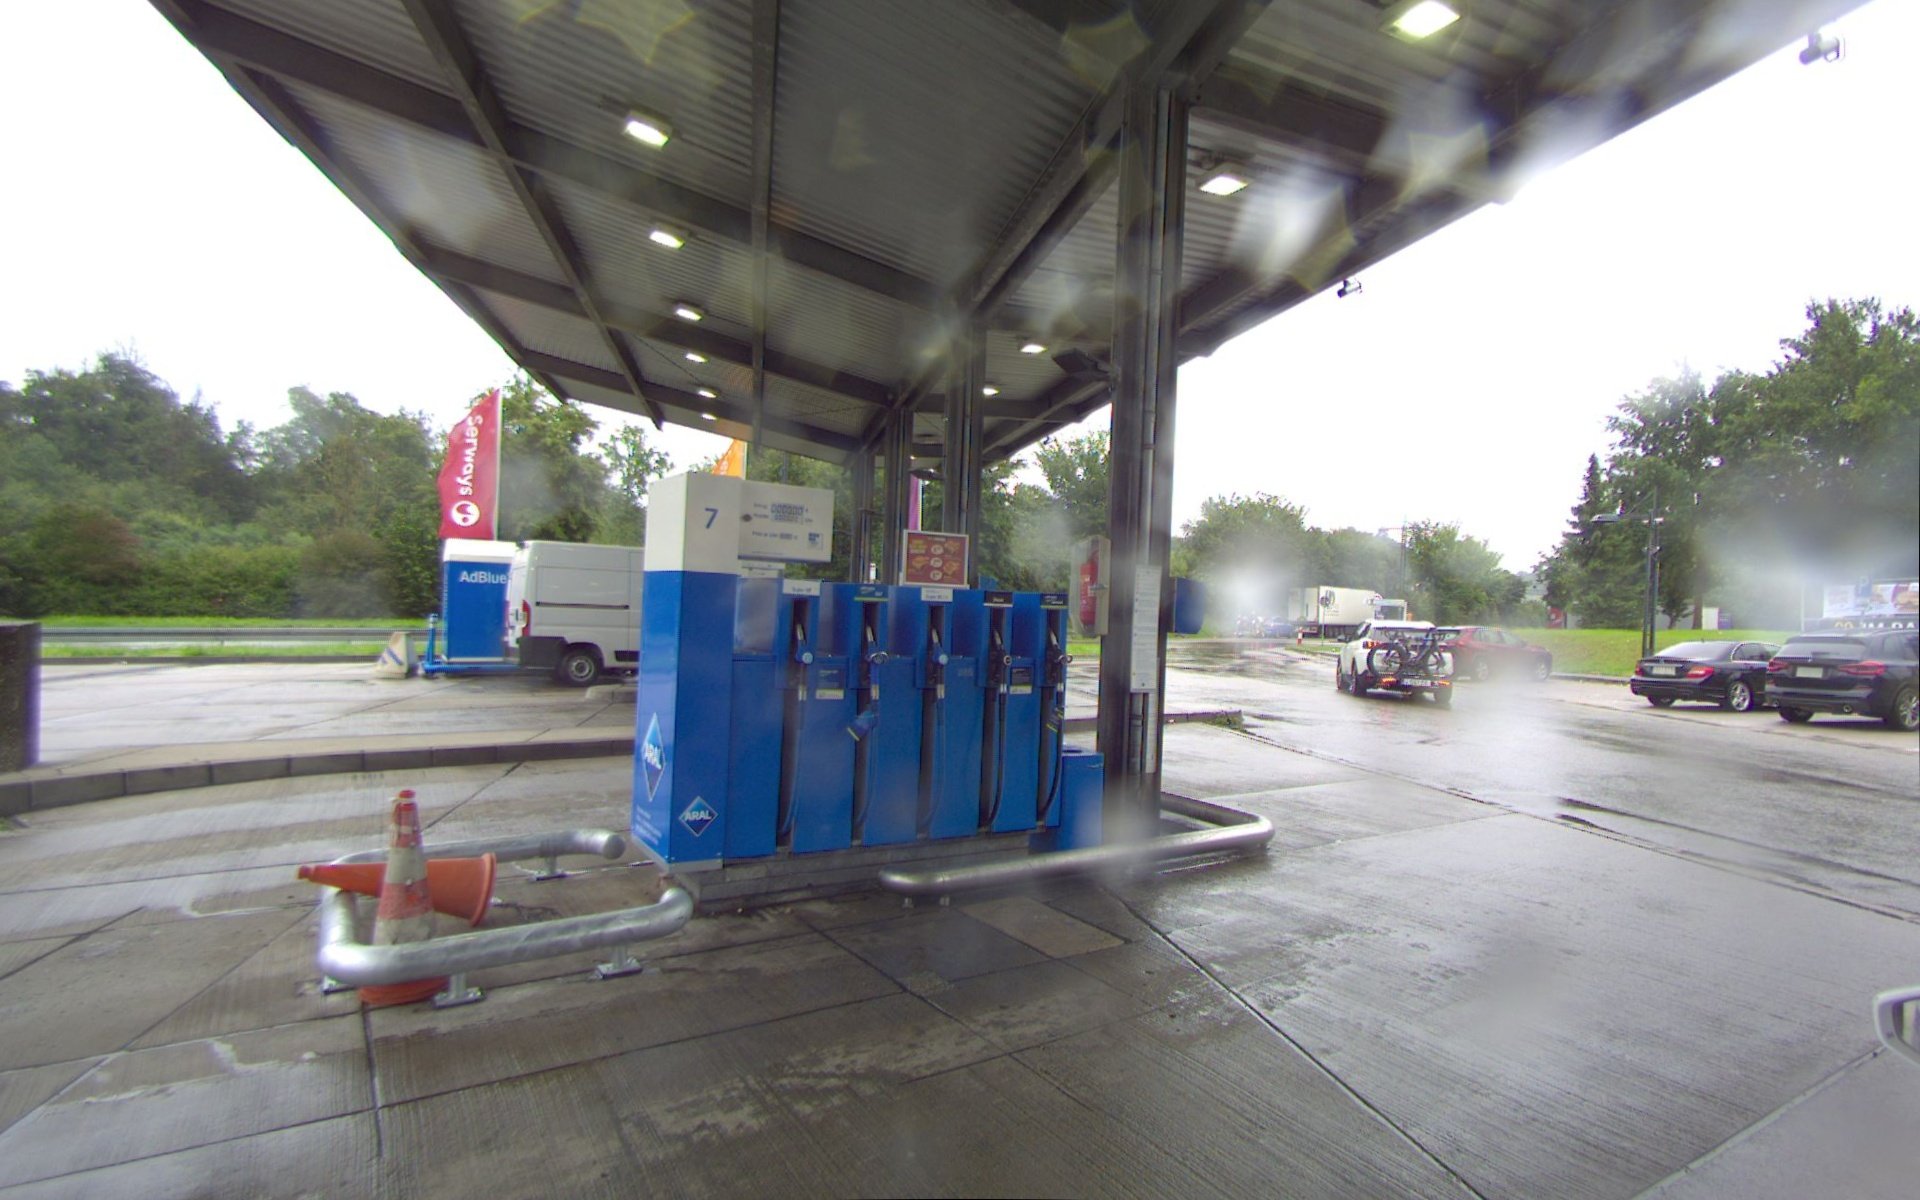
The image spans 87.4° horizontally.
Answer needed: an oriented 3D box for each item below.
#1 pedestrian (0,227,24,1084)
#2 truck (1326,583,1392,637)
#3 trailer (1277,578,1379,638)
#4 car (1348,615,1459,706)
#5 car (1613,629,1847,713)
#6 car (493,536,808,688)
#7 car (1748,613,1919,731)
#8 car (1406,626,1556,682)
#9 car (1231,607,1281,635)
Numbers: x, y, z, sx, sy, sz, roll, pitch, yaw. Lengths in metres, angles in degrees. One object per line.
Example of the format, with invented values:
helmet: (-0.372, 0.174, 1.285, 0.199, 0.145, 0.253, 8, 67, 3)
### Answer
pedestrian: (-0.994, 0.558, 0.319, 0.830, 1.757, 0.790, 2, -1, -31)
truck: (35.597, 0.926, 89.469, 3.416, 4.618, 6.704, 2, 0, 40)
trailer: (30.924, 0.755, 83.865, 3.416, 4.618, 13.847, 2, 0, 40)
car: (9.030, 1.129, 20.778, 1.784, 1.586, 5.003, 1, 0, 21)
car: (15.943, 1.418, 20.835, 4.119, 1.585, 1.883, 1, -1, -19)
car: (-5.747, 0.268, 18.938, 5.227, 2.496, 2.306, 1, -1, -34)
car: (16.156, 1.189, 17.415, 4.344, 1.852, 1.883, 1, -1, -19)
car: (16.081, 1.648, 31.014, 4.294, 1.617, 1.879, 1, -1, -24)
car: (20.926, 1.495, 70.851, 1.903, 1.862, 4.373, 1, 0, 38)
